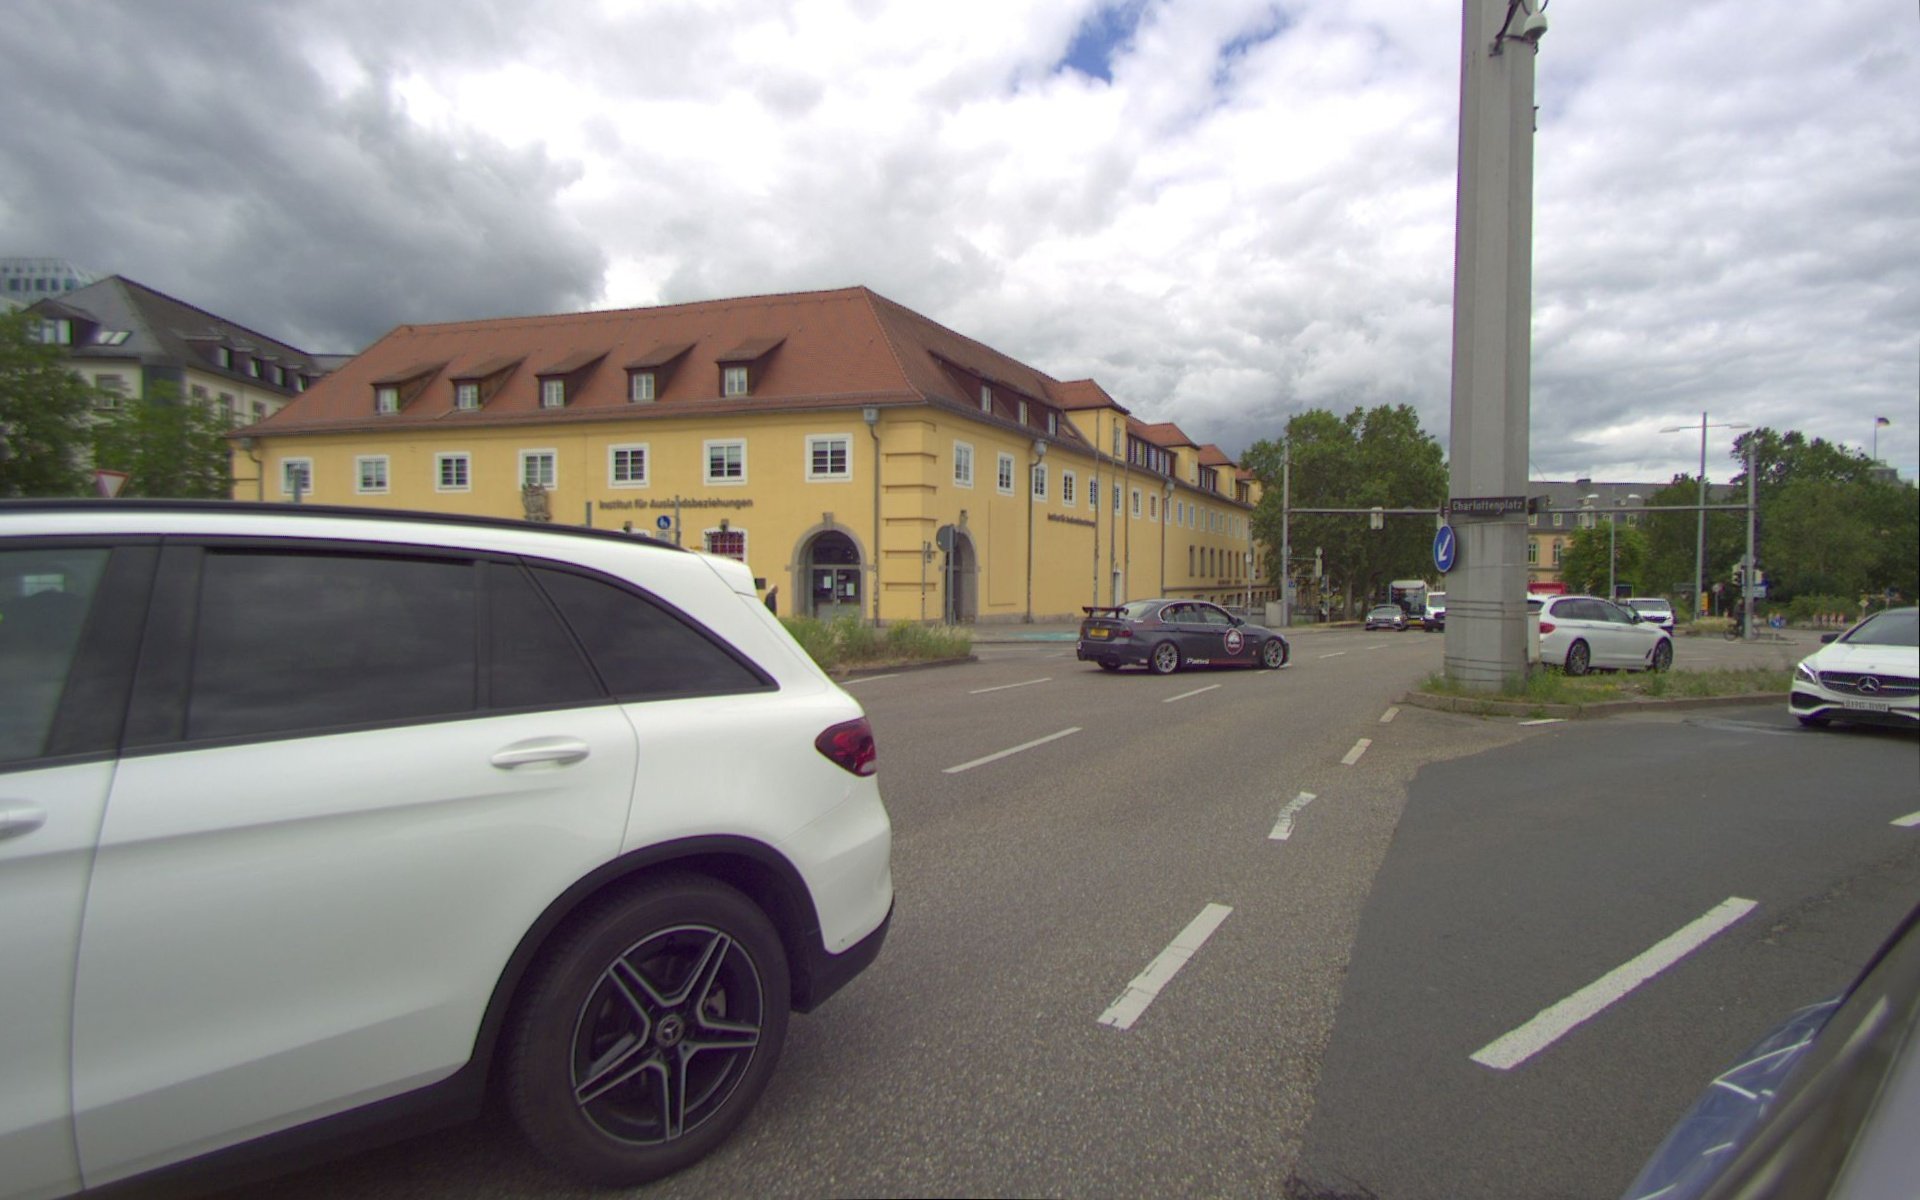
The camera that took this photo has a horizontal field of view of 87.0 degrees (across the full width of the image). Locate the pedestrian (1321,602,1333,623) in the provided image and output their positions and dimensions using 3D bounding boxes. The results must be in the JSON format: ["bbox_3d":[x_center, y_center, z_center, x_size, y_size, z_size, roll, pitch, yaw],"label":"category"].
[{"bbox_3d":[24.266,0.834,66.911,0.674,1.397,0.574,1,0,25],"label":"pedestrian"}]

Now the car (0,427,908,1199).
[{"bbox_3d":[-2.349,0.523,2.224,4.258,1.667,1.805,1,1,-41],"label":"car"}]

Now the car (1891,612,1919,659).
[{"bbox_3d":[27.881,0.992,28.249,3.976,1.280,1.678,1,-1,-30],"label":"car"}]

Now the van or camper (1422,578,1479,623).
[{"bbox_3d":[26.720,0.020,54.975,2.355,2.291,6.221,1,0,30],"label":"van or camper"}]

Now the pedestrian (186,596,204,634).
[{"bbox_3d":[-33.341,0.643,44.108,0.482,1.610,0.555,0,0,-25],"label":"pedestrian"}]

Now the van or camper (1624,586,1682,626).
[{"bbox_3d":[35.845,0.270,52.445,1.848,1.940,4.669,1,1,27],"label":"van or camper"}]

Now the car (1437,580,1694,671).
[{"bbox_3d":[11.571,0.406,19.272,4.939,1.523,2.002,-1,0,-29],"label":"car"}]

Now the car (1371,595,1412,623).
[{"bbox_3d":[23.626,0.465,55.380,1.811,1.426,3.963,1,1,27],"label":"car"}]

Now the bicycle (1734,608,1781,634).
[{"bbox_3d":[35.455,0.933,44.992,1.695,1.086,0.505,1,0,-3],"label":"bicycle"}]

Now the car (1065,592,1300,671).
[{"bbox_3d":[4.279,0.542,19.332,4.324,1.350,1.760,-1,-1,-30],"label":"car"}]

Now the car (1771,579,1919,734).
[{"bbox_3d":[11.623,0.584,11.809,4.559,1.589,1.873,0,0,-31],"label":"car"}]

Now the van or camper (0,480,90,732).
[{"bbox_3d":[-12.619,0.067,9.765,6.034,2.509,2.150,0,-1,-26],"label":"van or camper"}]

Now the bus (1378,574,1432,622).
[{"bbox_3d":[33.322,-0.162,75.572,3.399,3.244,12.951,1,0,25],"label":"bus"}]

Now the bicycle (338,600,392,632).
[{"bbox_3d":[-20.980,0.557,35.672,1.747,1.099,0.618,0,0,16],"label":"bicycle"}]

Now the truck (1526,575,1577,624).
[{"bbox_3d":[45.486,-0.074,78.015,2.765,3.534,8.273,1,0,26],"label":"truck"}]

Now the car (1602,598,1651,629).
[{"bbox_3d":[39.784,0.776,60.509,1.981,1.776,3.923,1,0,27],"label":"car"}]

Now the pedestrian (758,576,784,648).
[{"bbox_3d":[-5.120,0.322,27.387,0.626,1.919,0.559,1,0,-5],"label":"pedestrian"}]

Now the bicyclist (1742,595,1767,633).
[{"bbox_3d":[35.339,0.629,45.027,0.707,1.660,0.506,1,0,-4],"label":"bicyclist"}]

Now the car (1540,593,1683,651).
[{"bbox_3d":[17.358,0.572,26.951,3.573,1.436,1.731,1,-1,-29],"label":"car"}]

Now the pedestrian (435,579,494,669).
[{"bbox_3d":[-10.154,0.473,20.760,0.815,1.812,0.749,0,0,13],"label":"pedestrian"}]
